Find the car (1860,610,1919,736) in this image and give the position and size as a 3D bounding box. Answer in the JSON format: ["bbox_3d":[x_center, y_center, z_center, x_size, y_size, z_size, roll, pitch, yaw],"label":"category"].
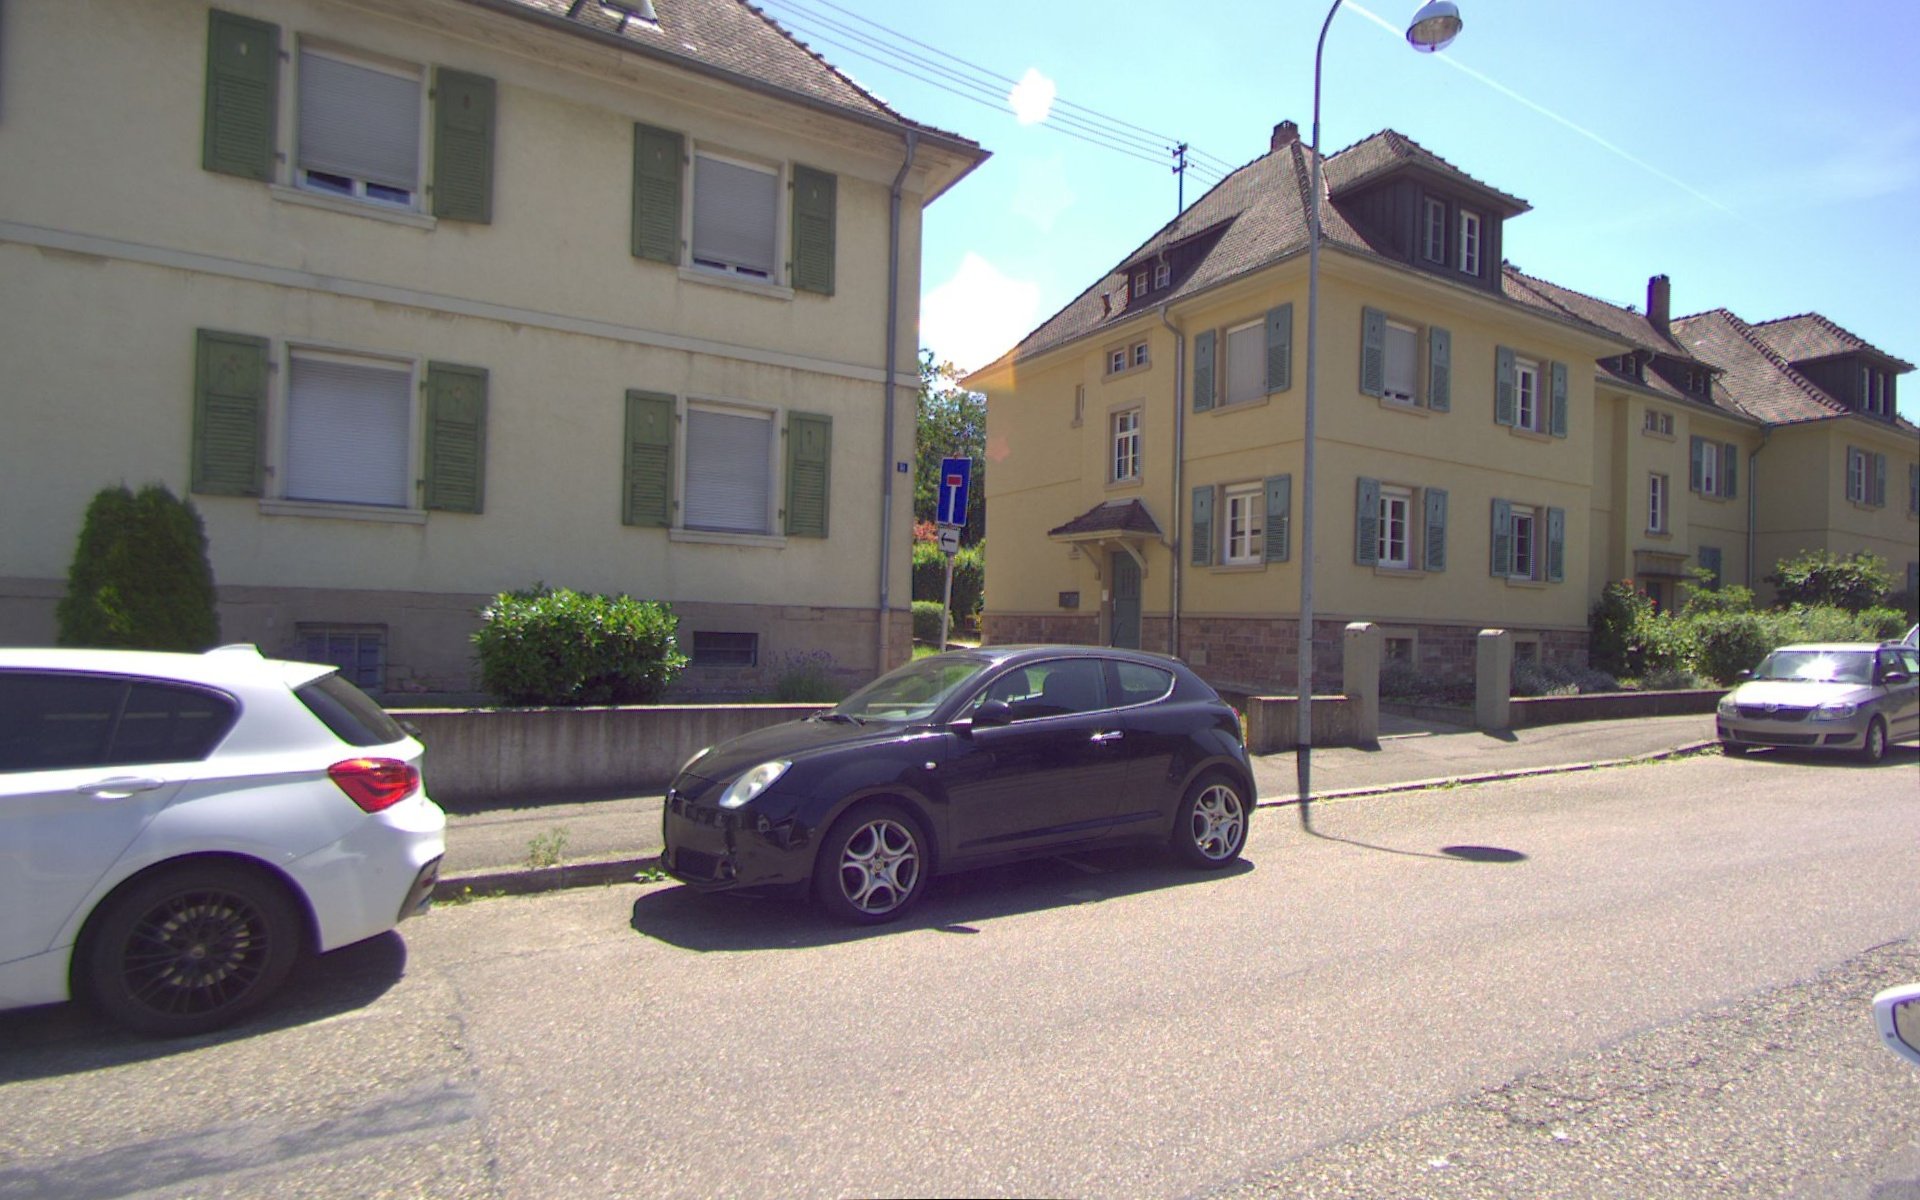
[{"bbox_3d":[17.236,1.192,16.849,4.573,1.988,1.869,1,-4,-31],"label":"car"}]

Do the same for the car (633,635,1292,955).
[{"bbox_3d":[0.134,1.024,6.561,4.031,1.504,1.707,2,-3,-32],"label":"car"}]

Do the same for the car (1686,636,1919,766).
[{"bbox_3d":[11.884,1.293,13.781,4.016,1.545,1.678,2,-4,-32],"label":"car"}]

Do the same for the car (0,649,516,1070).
[{"bbox_3d":[-4.138,0.907,3.951,4.171,1.420,1.785,2,-3,-32],"label":"car"}]
